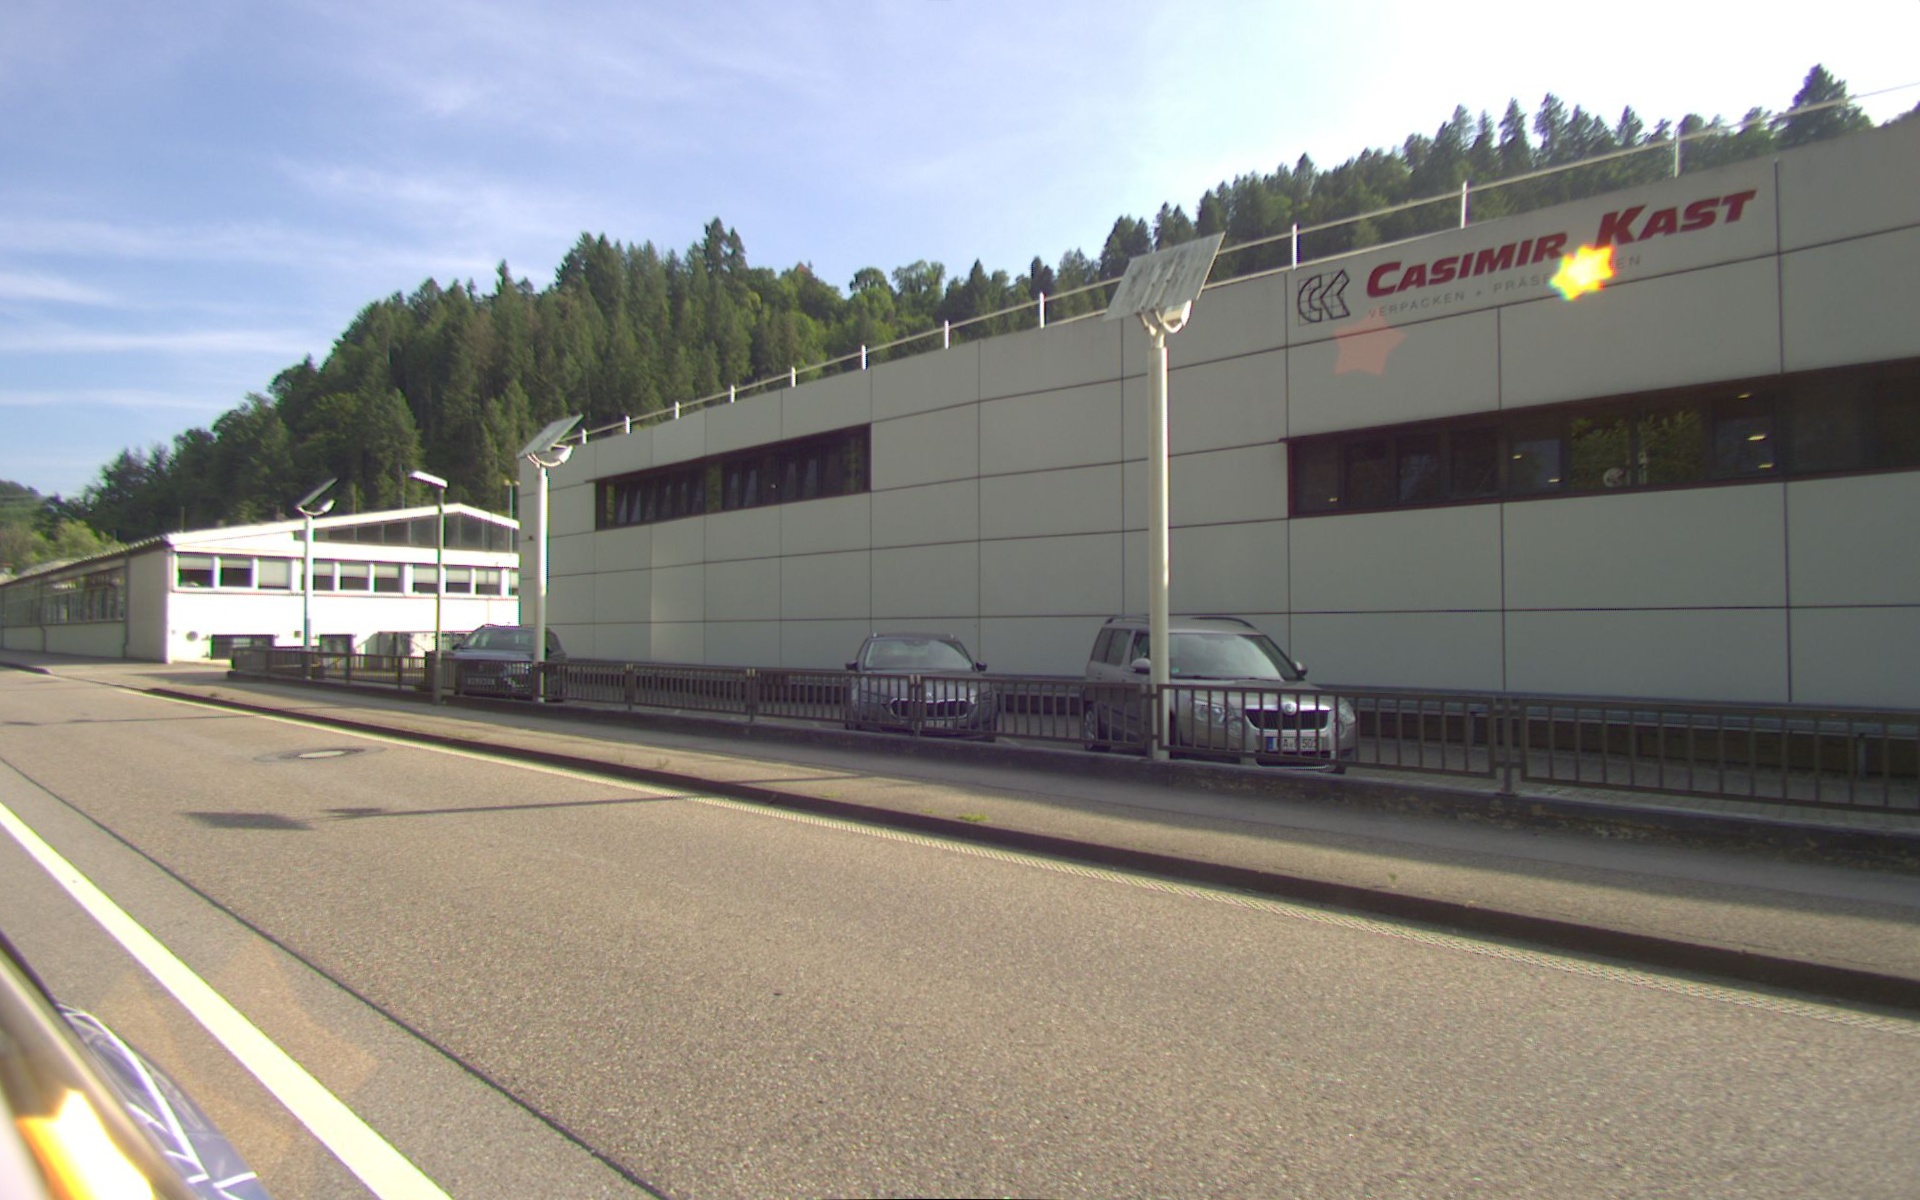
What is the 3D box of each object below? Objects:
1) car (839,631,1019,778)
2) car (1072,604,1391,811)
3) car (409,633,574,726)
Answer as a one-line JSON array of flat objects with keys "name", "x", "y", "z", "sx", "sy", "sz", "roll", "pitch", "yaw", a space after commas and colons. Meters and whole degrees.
[{"name": "car", "x": -0.593, "y": 1.191, "z": 13.172, "sx": 1.859, "sy": 1.506, "sz": 4.496, "roll": 0, "pitch": -1, "yaw": -8}, {"name": "car", "x": 2.557, "y": 0.948, "z": 10.668, "sx": 1.753, "sy": 1.721, "sz": 4.117, "roll": 0, "pitch": -1, "yaw": -8}, {"name": "car", "x": -9.200, "y": 1.484, "z": 20.247, "sx": 1.859, "sy": 1.604, "sz": 4.182, "roll": 0, "pitch": -1, "yaw": -8}]
